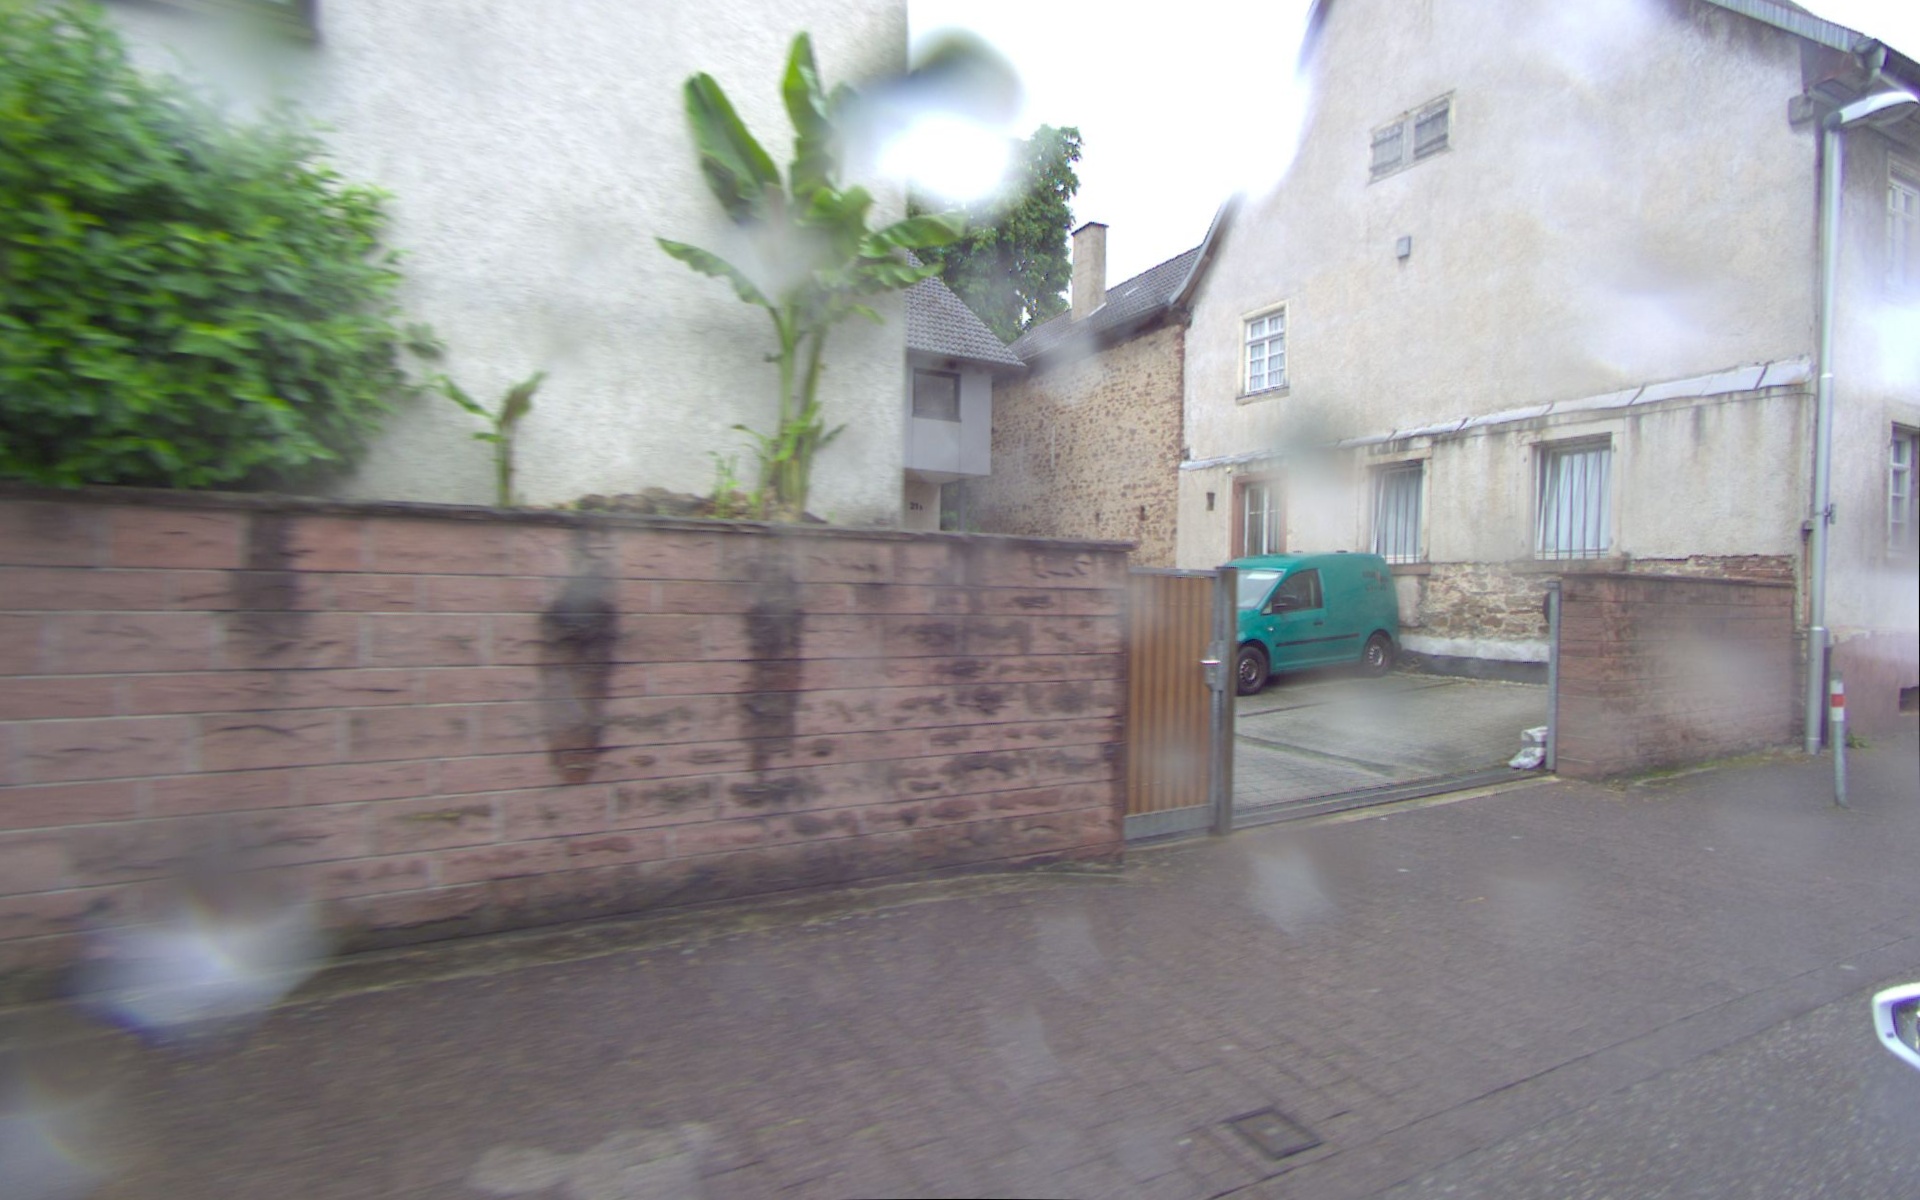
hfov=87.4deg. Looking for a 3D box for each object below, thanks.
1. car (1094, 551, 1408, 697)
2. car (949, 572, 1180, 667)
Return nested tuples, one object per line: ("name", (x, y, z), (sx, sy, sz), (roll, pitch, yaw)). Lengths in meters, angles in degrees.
("car", (4.174, 0.218, 14.210), (4.257, 1.739, 1.974), (-2, 2, -33))
("car", (1.953, 0.269, 18.501), (3.952, 1.528, 1.792), (-2, 3, -30))
